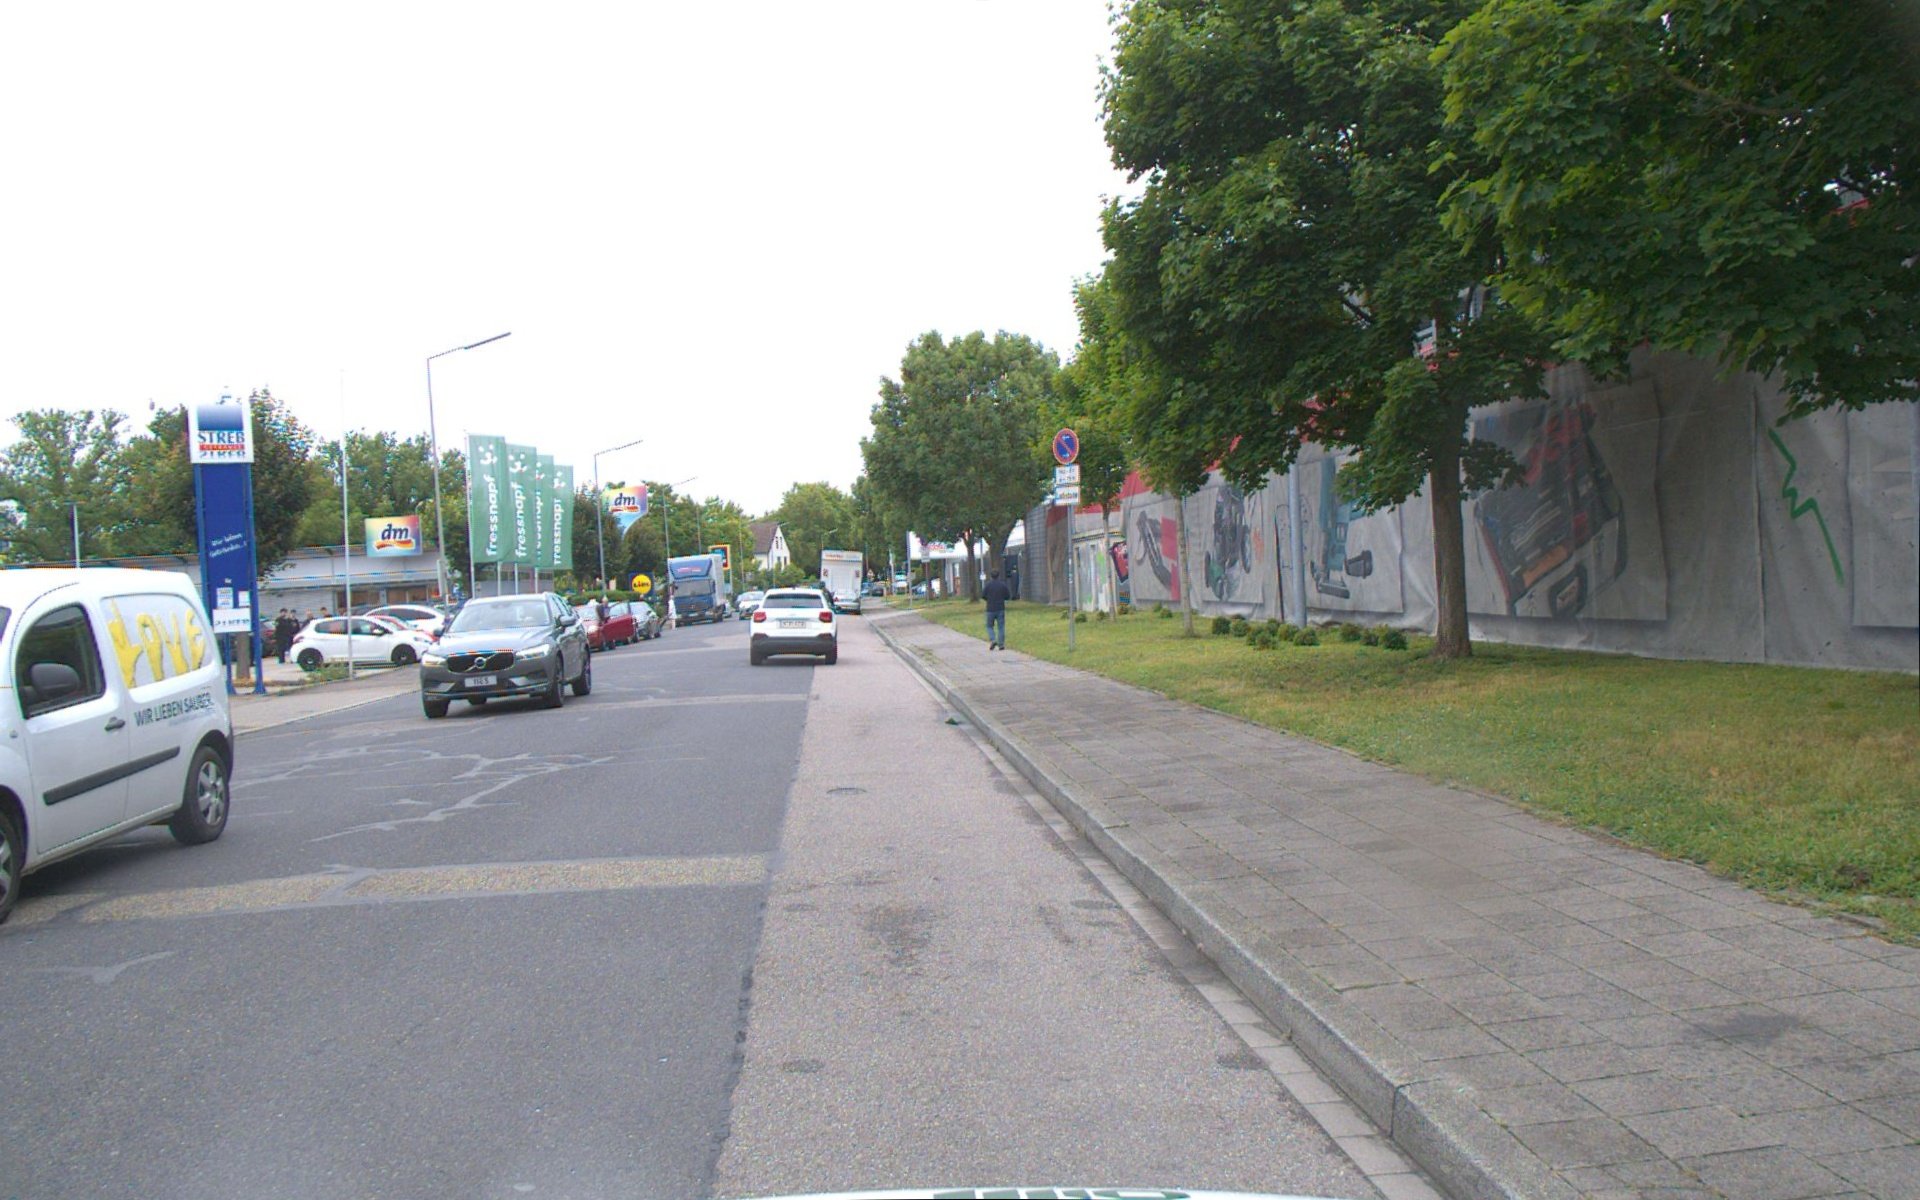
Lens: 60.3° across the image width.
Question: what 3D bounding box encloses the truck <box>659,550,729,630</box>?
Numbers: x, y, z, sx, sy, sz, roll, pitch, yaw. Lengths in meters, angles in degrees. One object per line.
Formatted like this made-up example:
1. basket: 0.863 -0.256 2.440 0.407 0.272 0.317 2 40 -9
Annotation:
1. truck: -14.563 -0.572 90.896 2.916 4.023 6.399 -5 1 -4

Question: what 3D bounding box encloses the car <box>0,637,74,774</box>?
1. car: -16.477 1.757 26.175 3.860 2.048 1.756 -4 0 -12

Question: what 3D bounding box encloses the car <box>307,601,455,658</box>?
1. car: -18.224 0.906 52.232 4.061 1.488 1.894 -4 1 -10

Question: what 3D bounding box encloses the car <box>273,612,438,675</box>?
1. car: -17.259 1.224 47.413 4.130 1.488 1.947 -4 0 -12

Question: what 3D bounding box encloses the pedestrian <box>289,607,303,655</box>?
1. pedestrian: -22.379 1.029 55.725 0.325 1.597 0.501 -3 0 -19

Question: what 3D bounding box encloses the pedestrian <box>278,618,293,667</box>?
1. pedestrian: -22.359 1.406 54.824 0.353 1.597 0.501 -3 0 -19

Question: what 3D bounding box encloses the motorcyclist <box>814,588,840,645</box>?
1. motorcyclist: -3.823 0.475 47.531 0.612 1.581 0.604 -3 0 -3

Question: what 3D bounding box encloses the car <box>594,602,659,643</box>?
1. car: -12.753 0.834 63.469 1.861 1.391 3.997 -3 1 -4

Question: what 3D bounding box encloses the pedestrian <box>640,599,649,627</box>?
1. pedestrian: -17.678 0.713 92.726 0.394 1.558 0.484 -3 0 -11

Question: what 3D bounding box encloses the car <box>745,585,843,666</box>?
1. car: -3.435 0.481 34.886 1.849 1.558 4.251 -1 0 -4

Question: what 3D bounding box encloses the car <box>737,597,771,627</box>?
1. car: -11.625 0.663 93.413 1.568 1.554 3.525 -5 0 -4

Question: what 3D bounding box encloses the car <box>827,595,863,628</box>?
1. car: -6.772 0.671 97.030 1.955 1.837 3.995 -2 0 -6

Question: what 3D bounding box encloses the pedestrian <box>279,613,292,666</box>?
1. pedestrian: -22.656 1.334 55.551 0.258 1.760 0.420 -3 0 -17

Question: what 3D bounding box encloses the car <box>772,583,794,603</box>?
1. car: -16.419 -0.651 153.584 1.955 1.713 3.995 -2 0 -6

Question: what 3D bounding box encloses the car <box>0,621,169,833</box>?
1. car: -8.382 1.113 13.448 1.910 1.552 4.398 -7 1 -5

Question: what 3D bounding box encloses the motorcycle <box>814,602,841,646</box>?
1. motorcycle: -3.796 0.677 47.484 0.628 1.199 2.112 -3 1 -2

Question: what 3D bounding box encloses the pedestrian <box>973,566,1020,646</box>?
1. pedestrian: 0.767 0.130 35.207 0.900 1.663 0.852 -2 0 -3

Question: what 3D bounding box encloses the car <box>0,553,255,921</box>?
1. car: -5.601 0.737 9.125 1.657 1.790 4.132 -6 1 -3

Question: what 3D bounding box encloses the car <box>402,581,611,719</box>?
1. car: -6.567 0.650 24.497 1.895 1.713 4.493 -4 1 -2

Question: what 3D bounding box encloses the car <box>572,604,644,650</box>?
1. car: -12.215 0.905 57.604 1.861 1.391 3.997 -3 1 -4

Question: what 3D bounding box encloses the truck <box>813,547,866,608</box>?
1. truck: -7.814 -1.341 105.965 3.074 3.647 10.038 -2 0 -6

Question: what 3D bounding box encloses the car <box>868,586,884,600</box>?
1. car: -10.198 -0.845 200.960 1.849 1.713 4.251 -1 0 -4

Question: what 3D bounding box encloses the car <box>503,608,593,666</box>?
1. car: -11.340 0.998 45.732 1.862 1.391 3.993 -4 0 -7

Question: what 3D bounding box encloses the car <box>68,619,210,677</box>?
1. car: -28.548 1.660 57.611 3.909 1.698 1.875 -4 1 -5

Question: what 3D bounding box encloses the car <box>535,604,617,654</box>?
1. car: -12.046 0.878 52.119 1.861 1.391 3.997 -3 1 -4
